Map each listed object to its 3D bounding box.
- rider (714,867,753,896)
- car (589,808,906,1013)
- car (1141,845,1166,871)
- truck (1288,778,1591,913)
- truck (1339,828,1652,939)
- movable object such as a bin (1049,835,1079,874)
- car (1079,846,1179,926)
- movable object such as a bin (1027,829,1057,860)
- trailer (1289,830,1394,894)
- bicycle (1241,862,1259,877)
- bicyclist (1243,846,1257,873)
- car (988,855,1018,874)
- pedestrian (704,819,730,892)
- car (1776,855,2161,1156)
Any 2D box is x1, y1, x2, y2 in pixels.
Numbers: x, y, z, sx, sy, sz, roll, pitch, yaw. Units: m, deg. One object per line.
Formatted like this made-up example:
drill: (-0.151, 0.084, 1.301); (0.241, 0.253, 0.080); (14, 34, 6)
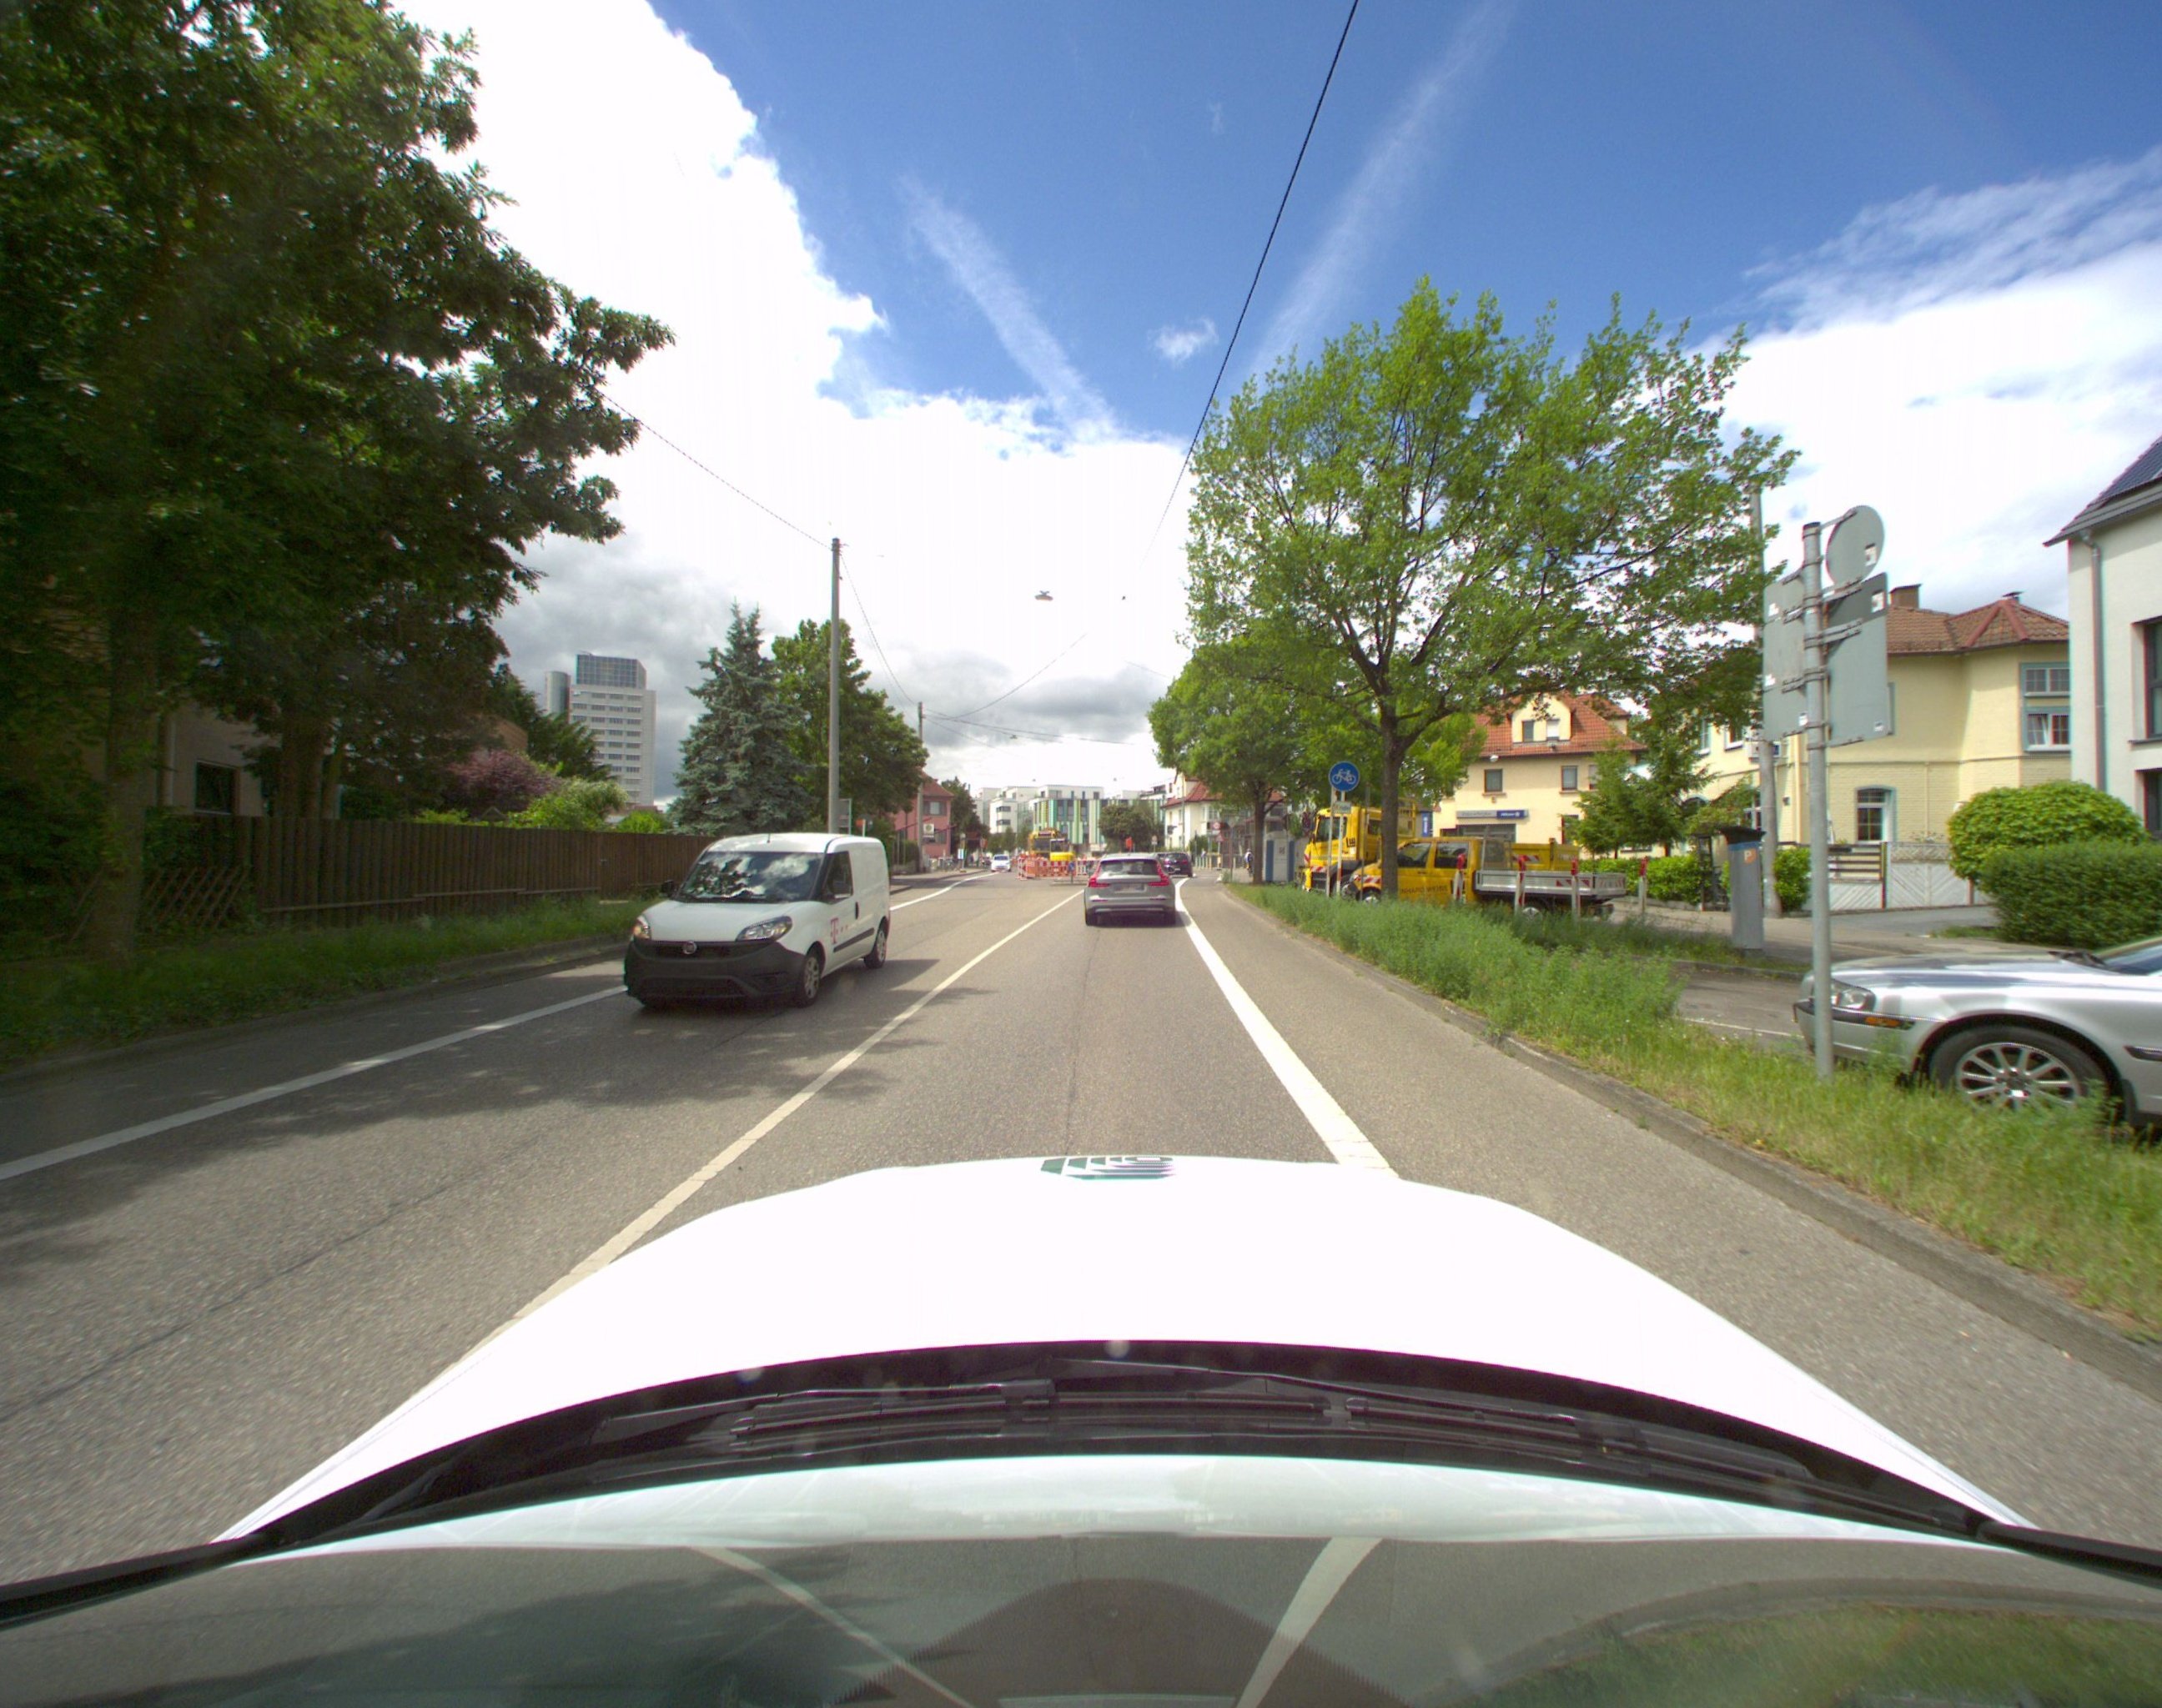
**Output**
rider: (-9.342, 0.723, 21.907); (0.727, 0.735, 0.689); (3, -1, -3)
car: (-3.559, 0.514, 9.788); (1.842, 1.875, 4.594); (0, 0, 1)
car: (6.213, 0.349, 69.417); (1.983, 2.014, 4.006); (3, -1, 6)
truck: (9.145, -0.198, 21.250); (6.622, 3.008, 2.786); (2, -2, 41)
truck: (8.668, 0.528, 17.492); (5.607, 2.014, 2.011); (2, -2, 44)
movable object such as a bin: (-1.163, 0.005, 57.936); (2.029, 2.643, 5.937); (0, 0, -1)
car: (1.113, 0.613, 17.777); (1.919, 1.540, 4.006); (-1, 0, 5)
movable object such as a bin: (-3.951, -0.905, 80.526); (2.310, 2.990, 6.407); (0, 0, -9)
trailer: (9.095, 0.276, 29.032); (2.378, 2.032, 5.519); (1, 0, 5)
bicycle: (9.996, 0.910, 48.221); (0.593, 0.812, 1.751); (3, -1, -3)
bicyclist: (10.018, 0.330, 48.253); (0.588, 1.559, 0.566); (3, -2, -4)
car: (-6.703, 0.912, 70.306); (1.880, 1.508, 4.003); (-2, -2, 3)
pedestrian: (-10.161, 0.049, 22.738); (0.401, 2.014, 0.414); (3, -2, 1)
car: (6.558, 0.787, 4.001); (1.778, 1.451, 4.632); (1, 0, -44)
